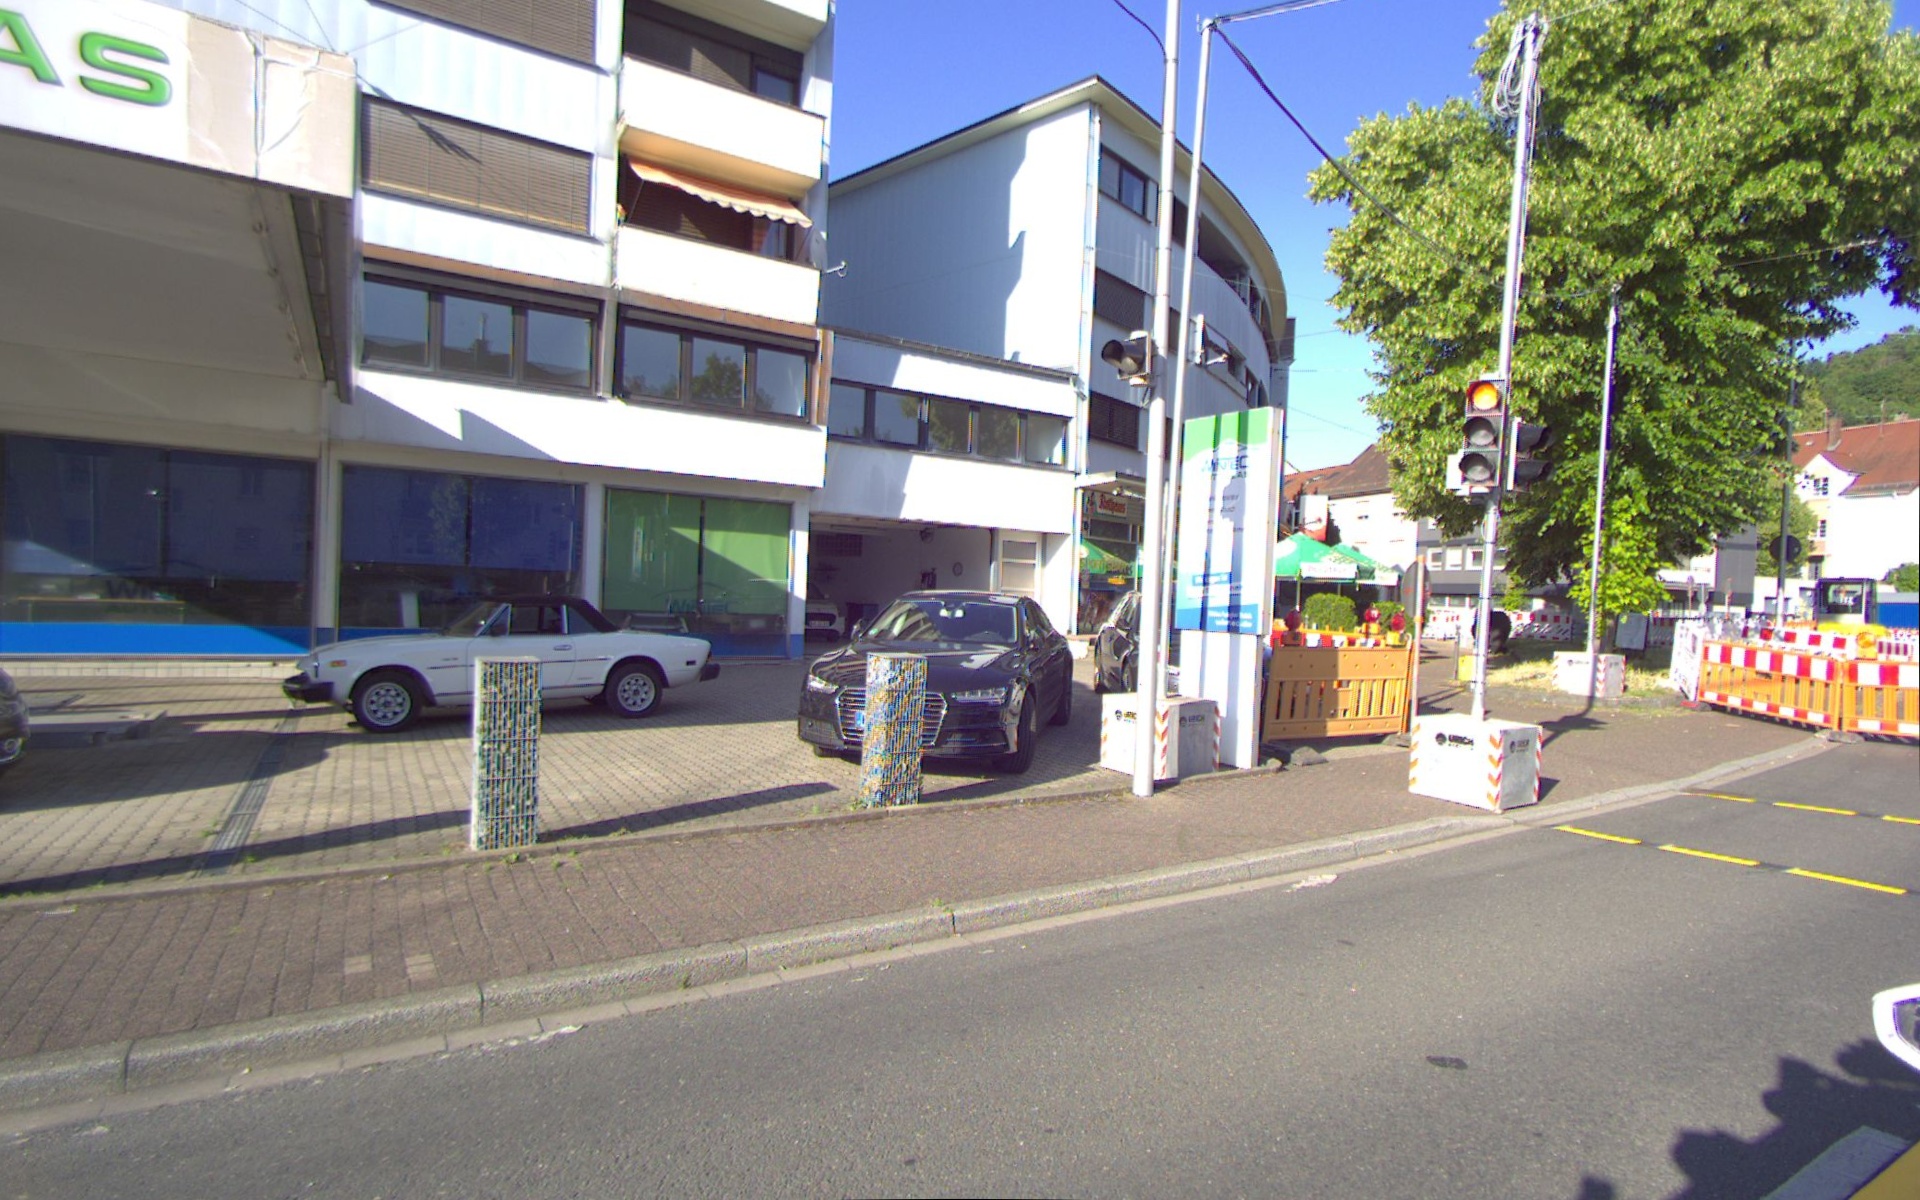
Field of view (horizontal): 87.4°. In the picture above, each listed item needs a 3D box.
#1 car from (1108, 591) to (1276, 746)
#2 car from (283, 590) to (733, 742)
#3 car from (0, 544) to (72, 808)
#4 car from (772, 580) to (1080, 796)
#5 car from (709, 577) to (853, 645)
[{"bbox_3d":[2.818,0.674,12.448,1.617,1.474,4.301,3,1,12],"label":"car"},{"bbox_3d":[-4.628,0.578,10.537,4.097,1.301,1.576,0,1,-35],"label":"car"},{"bbox_3d":[-7.470,0.398,5.866,3.325,1.589,1.623,2,1,8],"label":"car"},{"bbox_3d":[-0.031,0.594,9.475,1.872,1.474,4.315,3,1,12],"label":"car"},{"bbox_3d":[-4.418,0.223,24.344,1.980,1.486,3.961,1,1,-34],"label":"car"}]
